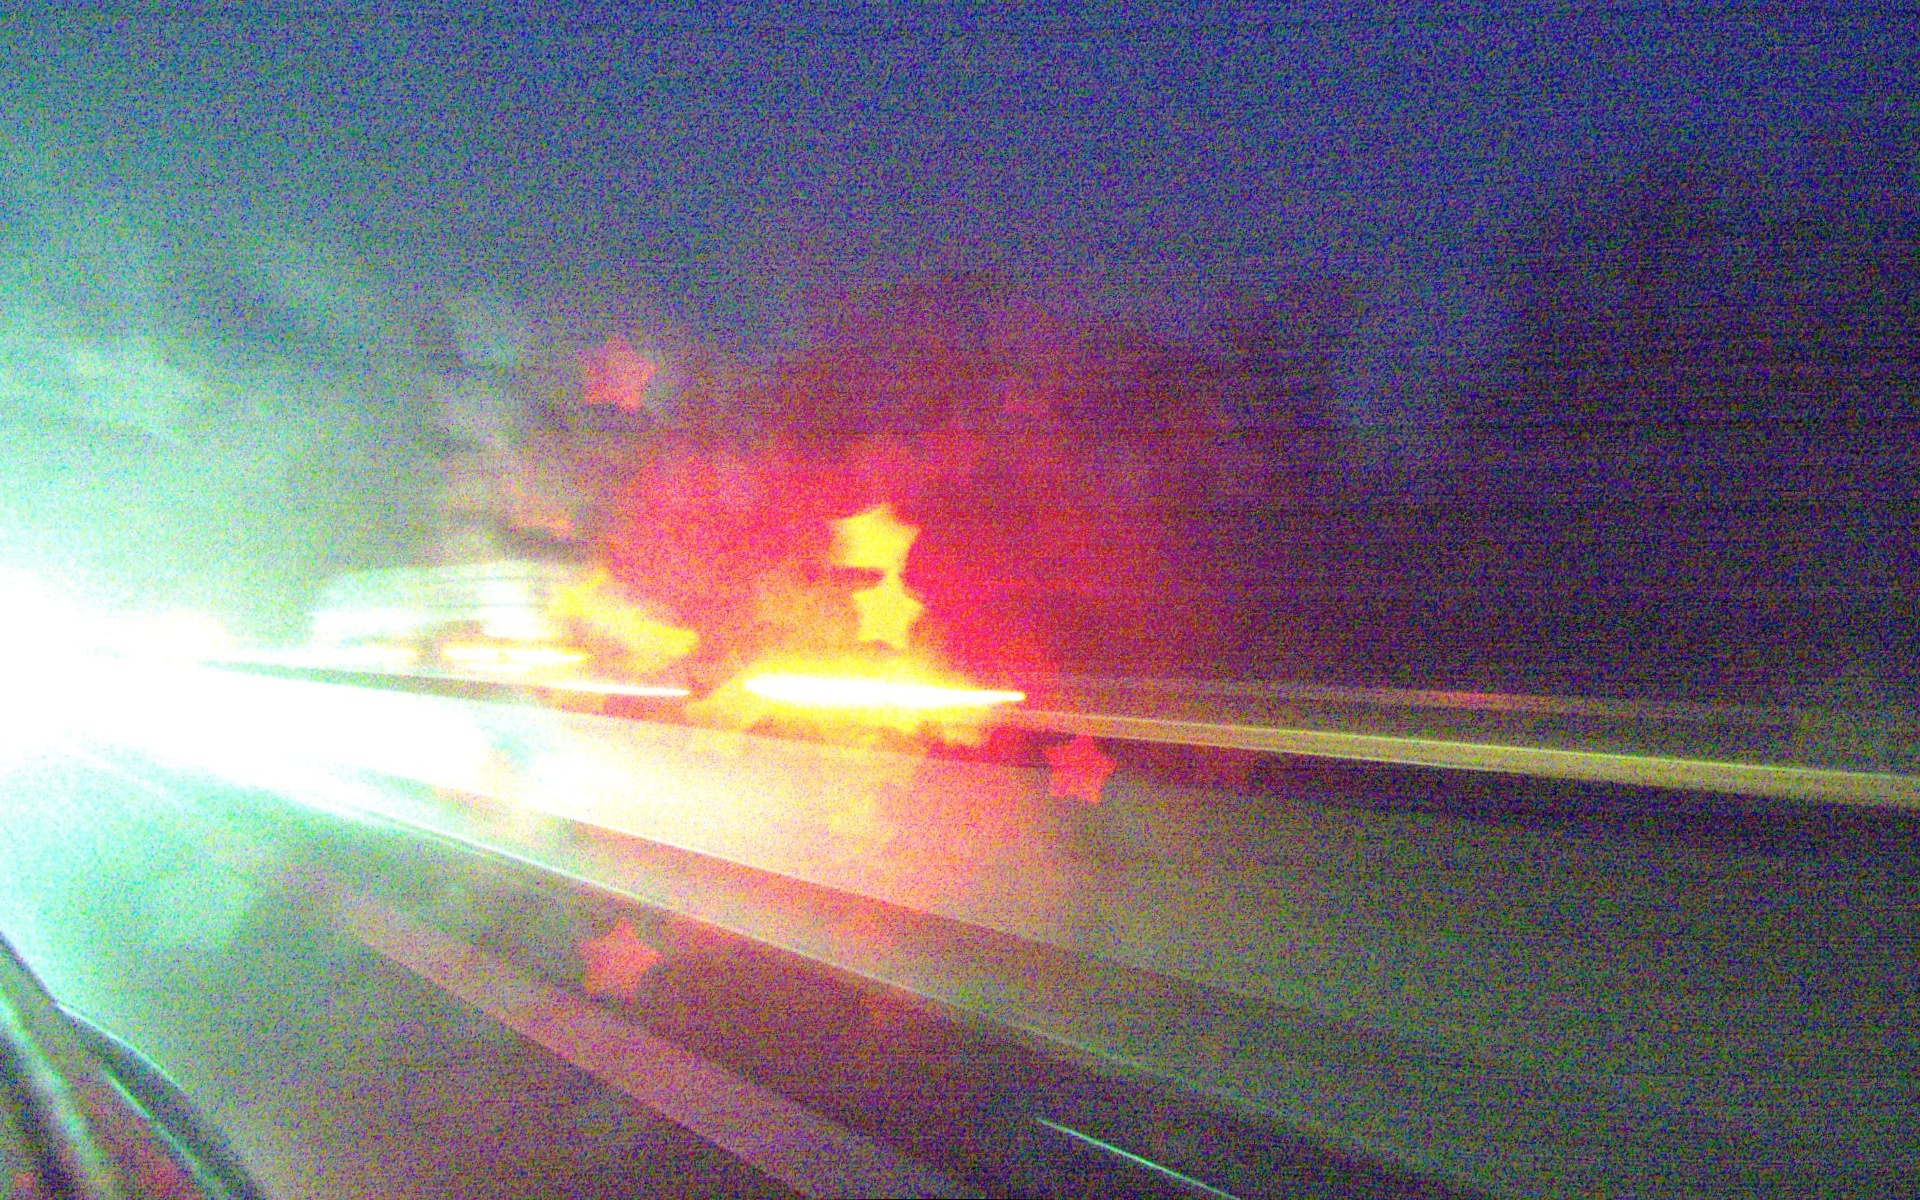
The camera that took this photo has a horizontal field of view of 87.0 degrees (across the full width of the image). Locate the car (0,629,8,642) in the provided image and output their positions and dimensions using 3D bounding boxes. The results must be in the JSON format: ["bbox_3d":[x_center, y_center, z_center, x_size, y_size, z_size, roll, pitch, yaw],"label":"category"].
[{"bbox_3d":[-121.513,4.479,127.404,4.498,1.629,1.853,-2,-3,40],"label":"car"}]

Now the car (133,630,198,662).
[{"bbox_3d":[-40.257,2.295,51.260,4.113,1.537,1.736,-1,-3,40],"label":"car"}]

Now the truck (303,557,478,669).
[{"bbox_3d":[-25.016,0.624,44.071,11.431,4.360,2.900,-1,-3,41],"label":"truck"}]

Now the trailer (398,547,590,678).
[{"bbox_3d":[-17.345,0.525,37.312,8.932,4.309,2.909,-1,-3,41],"label":"trailer"}]

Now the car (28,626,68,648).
[{"bbox_3d":[-71.649,2.877,79.467,4.511,1.593,1.842,-1,0,41],"label":"car"}]

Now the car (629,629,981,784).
[{"bbox_3d":[-2.059,1.155,12.605,4.445,1.486,1.944,-1,0,41],"label":"car"}]

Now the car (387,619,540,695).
[{"bbox_3d":[-13.653,1.468,27.709,4.878,1.837,2.041,-1,0,41],"label":"car"}]

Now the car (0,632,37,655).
[{"bbox_3d":[-58.842,2.697,62.926,4.115,1.372,1.735,-2,-3,42],"label":"car"}]
